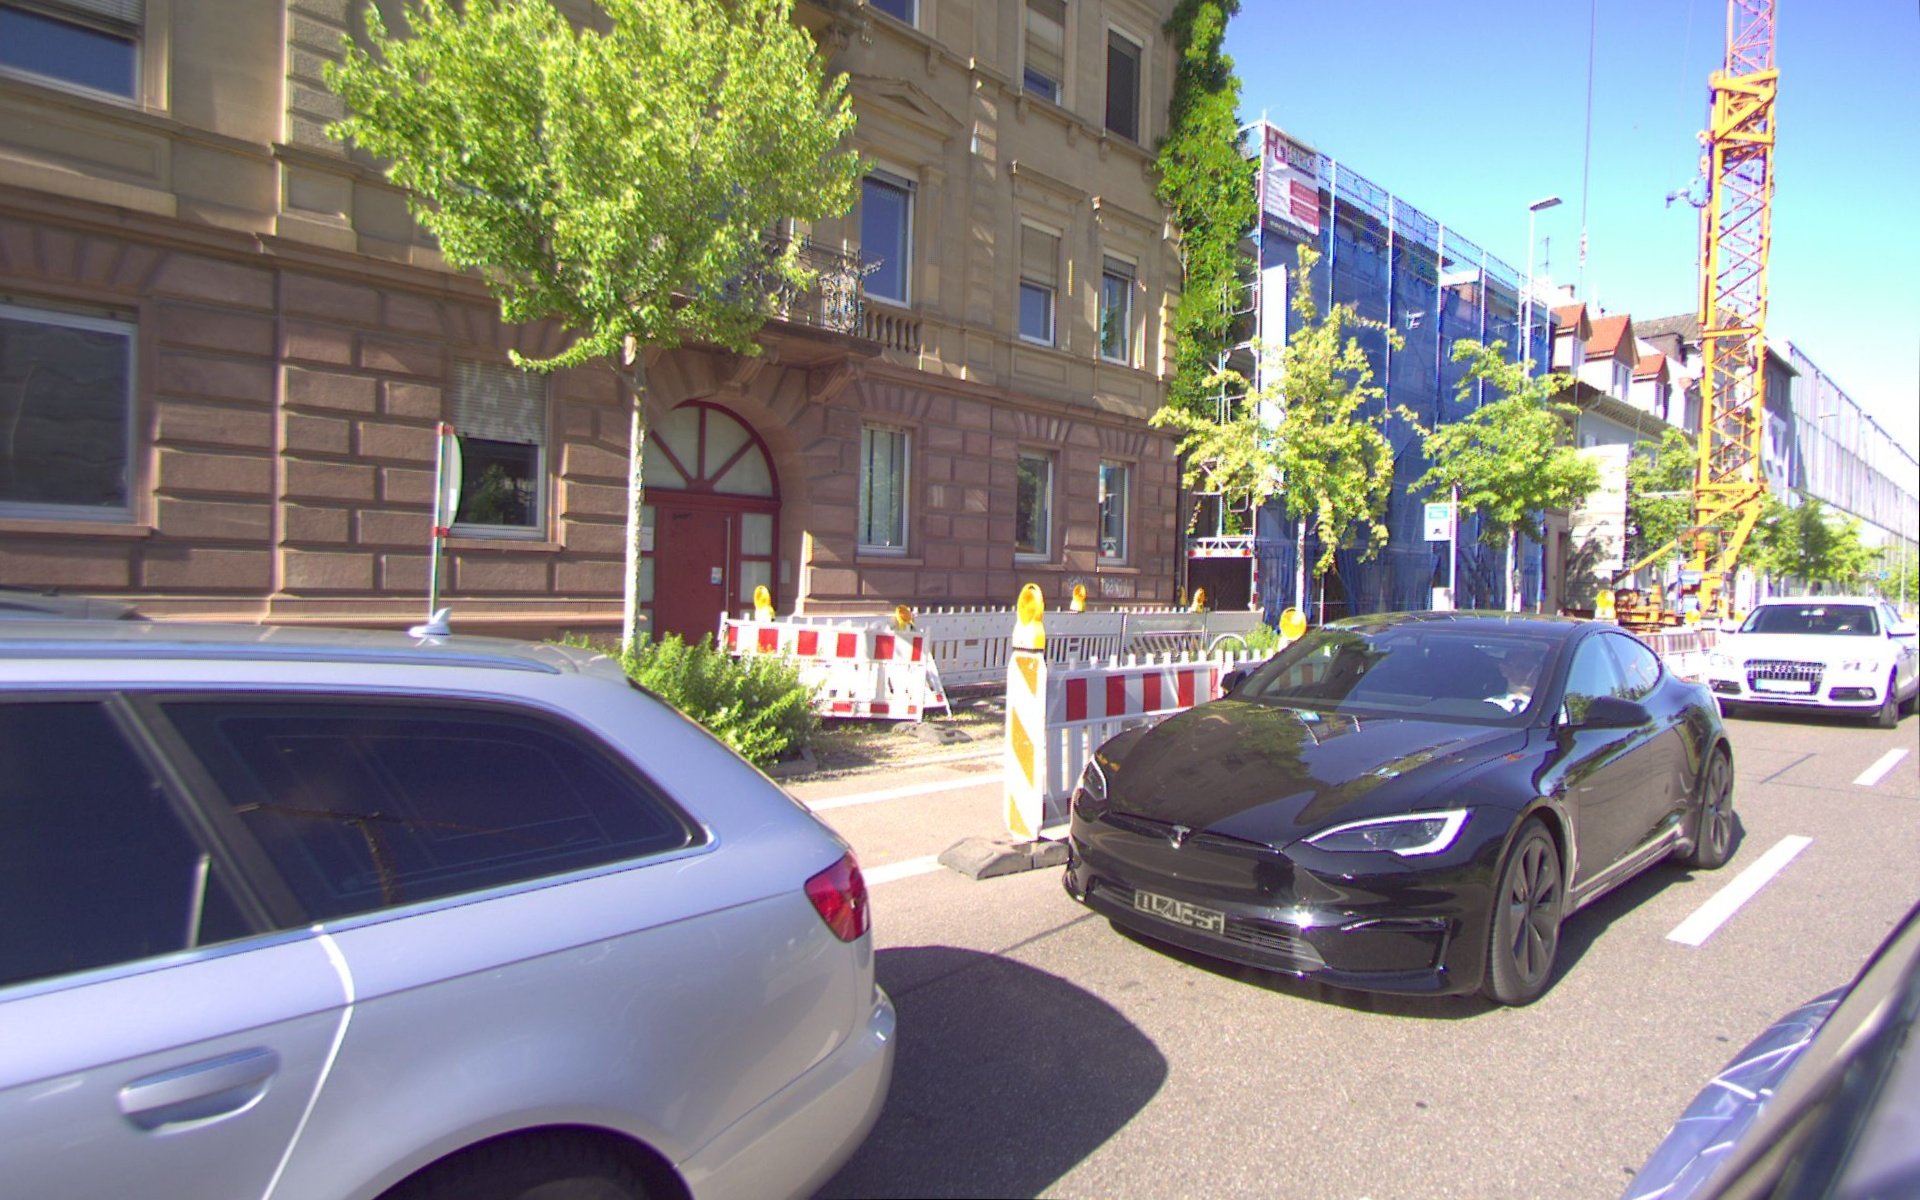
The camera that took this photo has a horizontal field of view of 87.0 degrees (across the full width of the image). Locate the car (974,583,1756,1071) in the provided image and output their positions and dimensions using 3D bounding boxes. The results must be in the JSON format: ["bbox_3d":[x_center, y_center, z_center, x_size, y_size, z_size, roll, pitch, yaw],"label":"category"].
[{"bbox_3d":[2.395,0.684,5.296,4.446,1.462,2.054,0,0,-42],"label":"car"}]

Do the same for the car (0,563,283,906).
[{"bbox_3d":[-5.830,0.592,4.395,4.619,1.493,1.651,0,4,-42],"label":"car"}]

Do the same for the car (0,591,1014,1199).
[{"bbox_3d":[-2.258,0.712,1.340,4.752,1.445,1.751,0,0,-40],"label":"car"}]

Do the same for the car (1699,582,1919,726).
[{"bbox_3d":[11.690,0.620,13.656,3.929,1.654,1.933,0,0,-41],"label":"car"}]
